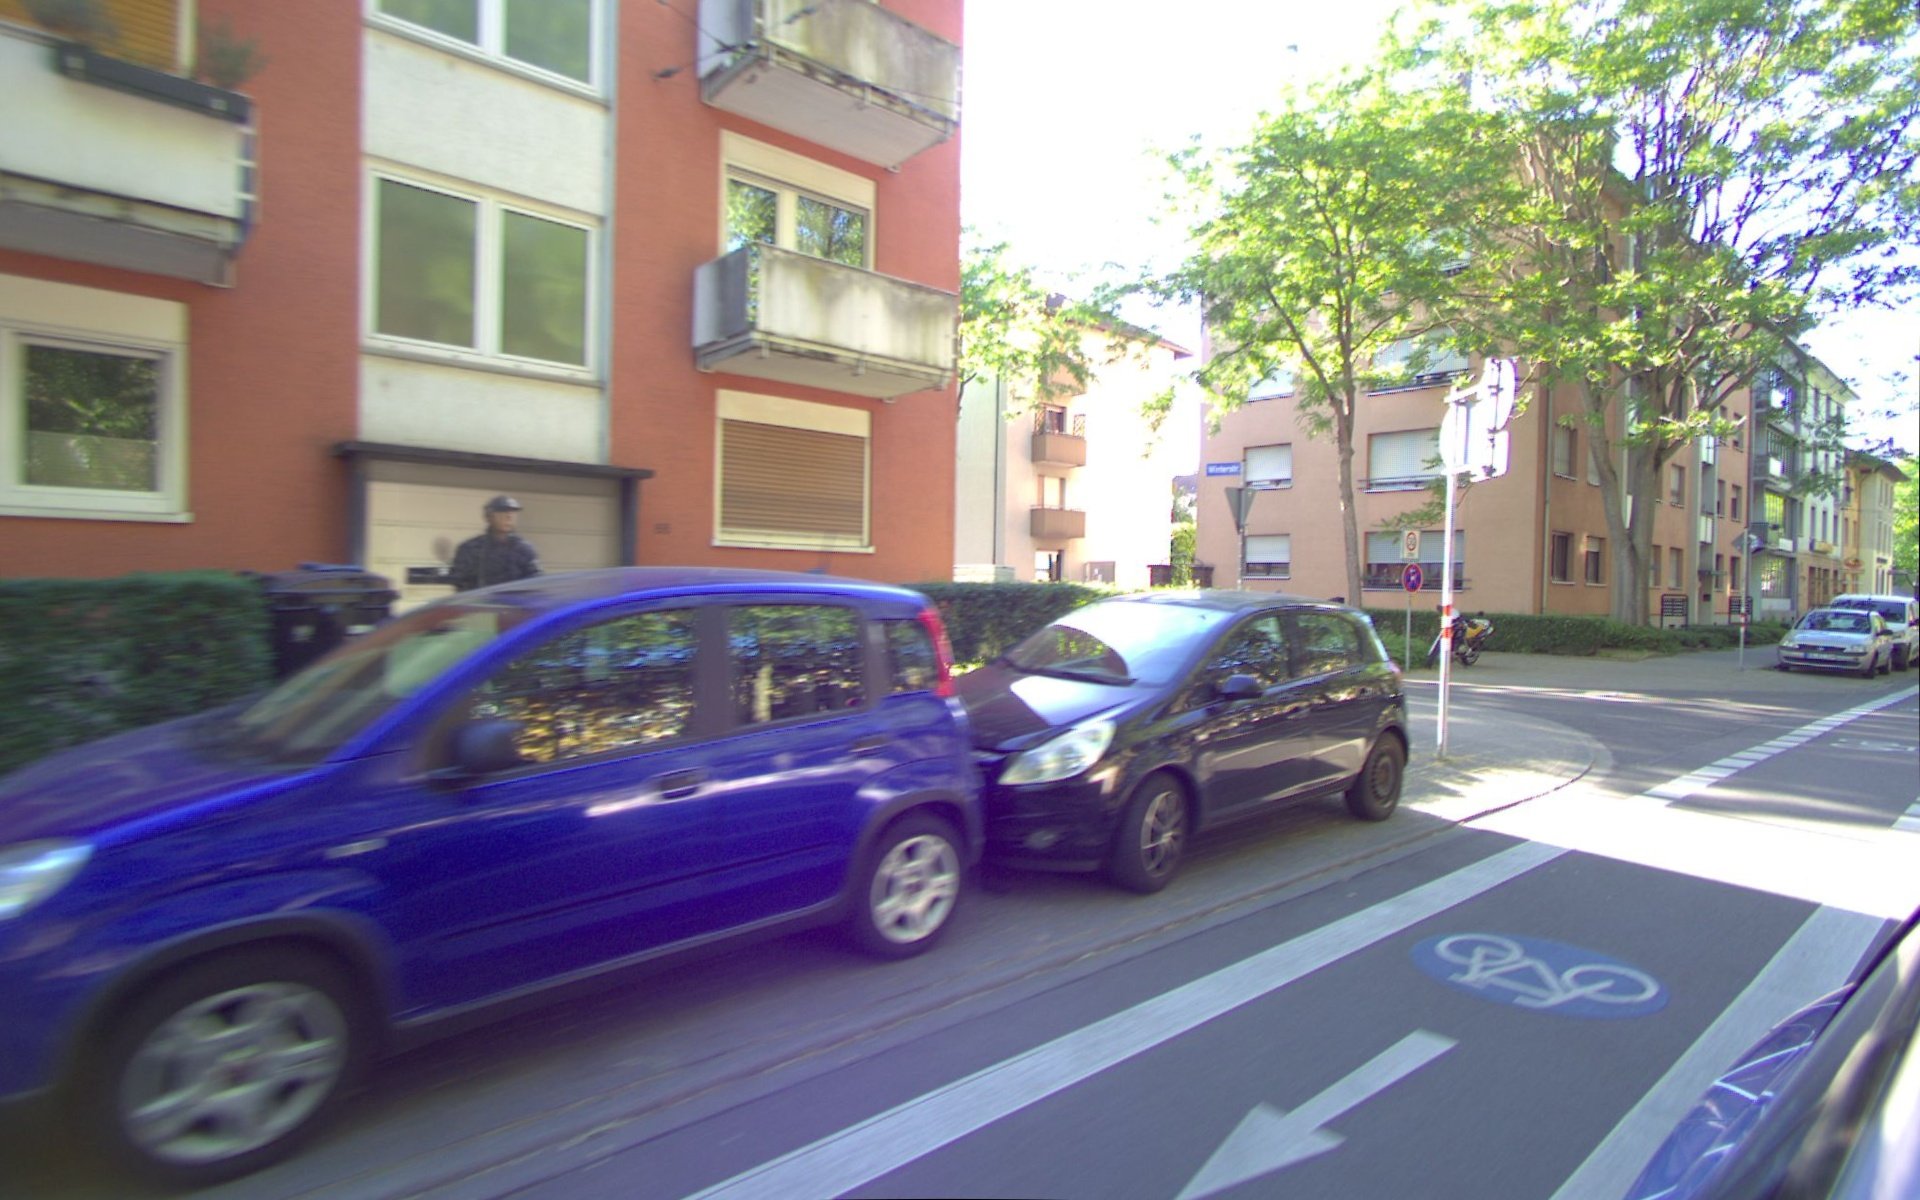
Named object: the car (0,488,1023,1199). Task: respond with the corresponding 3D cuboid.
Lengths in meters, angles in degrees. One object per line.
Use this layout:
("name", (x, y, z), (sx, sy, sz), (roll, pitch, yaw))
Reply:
("car", (-1.595, 0.546, 3.679), (3.688, 1.610, 1.528), (0, 1, -42))

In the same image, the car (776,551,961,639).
("car", (-2.224, -0.172, 23.331), (1.969, 1.815, 4.733), (1, 1, -38))

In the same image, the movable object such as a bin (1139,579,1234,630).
("movable object such as a bin", (6.908, 0.099, 30.997), (1.355, 1.436, 2.543), (-2, 3, -43))

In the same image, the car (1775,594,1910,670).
("car", (19.589, 0.655, 22.406), (3.930, 1.491, 1.709), (0, 2, -41))

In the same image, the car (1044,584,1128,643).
("car", (3.535, 0.315, 27.758), (1.644, 1.479, 3.925), (1, 1, 17))

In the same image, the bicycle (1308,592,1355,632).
("bicycle", (10.806, 0.328, 29.415), (1.744, 1.113, 0.513), (0, 0, -41))

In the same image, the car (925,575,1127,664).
("car", (1.176, 0.338, 19.548), (1.533, 1.501, 3.921), (4, -1, -41))

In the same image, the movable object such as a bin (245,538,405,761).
("movable object such as a bin", (-4.264, 0.288, 6.774), (0.761, 1.343, 1.155), (0, 0, -40))

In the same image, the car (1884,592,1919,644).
("car", (31.625, 0.599, 32.918), (4.261, 1.591, 1.771), (0, 3, -41))

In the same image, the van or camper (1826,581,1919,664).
("van or camper", (23.589, 0.522, 25.742), (4.747, 1.887, 1.758), (0, 2, -42))

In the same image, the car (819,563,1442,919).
("car", (1.243, 0.594, 6.288), (3.848, 1.480, 1.737), (0, 3, -41))

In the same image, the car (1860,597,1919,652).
("car", (27.916, 0.702, 29.693), (4.095, 1.491, 1.709), (0, 2, -41))

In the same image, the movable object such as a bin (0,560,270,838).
("movable object such as a bin", (-4.768, 0.470, 5.420), (1.691, 1.343, 0.969), (0, 0, -40))

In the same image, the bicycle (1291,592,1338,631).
("bicycle", (10.450, 0.322, 29.837), (1.744, 1.113, 0.513), (0, 0, -41))

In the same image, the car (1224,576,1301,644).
("car", (7.683, 0.202, 25.726), (1.703, 1.559, 3.979), (1, 1, 17))

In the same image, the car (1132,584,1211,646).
("car", (5.621, 0.335, 26.577), (1.703, 1.479, 3.925), (1, 1, 17))

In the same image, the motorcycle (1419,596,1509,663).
("motorcycle", (10.486, 0.584, 21.038), (2.214, 1.314, 0.680), (0, 1, -35))
